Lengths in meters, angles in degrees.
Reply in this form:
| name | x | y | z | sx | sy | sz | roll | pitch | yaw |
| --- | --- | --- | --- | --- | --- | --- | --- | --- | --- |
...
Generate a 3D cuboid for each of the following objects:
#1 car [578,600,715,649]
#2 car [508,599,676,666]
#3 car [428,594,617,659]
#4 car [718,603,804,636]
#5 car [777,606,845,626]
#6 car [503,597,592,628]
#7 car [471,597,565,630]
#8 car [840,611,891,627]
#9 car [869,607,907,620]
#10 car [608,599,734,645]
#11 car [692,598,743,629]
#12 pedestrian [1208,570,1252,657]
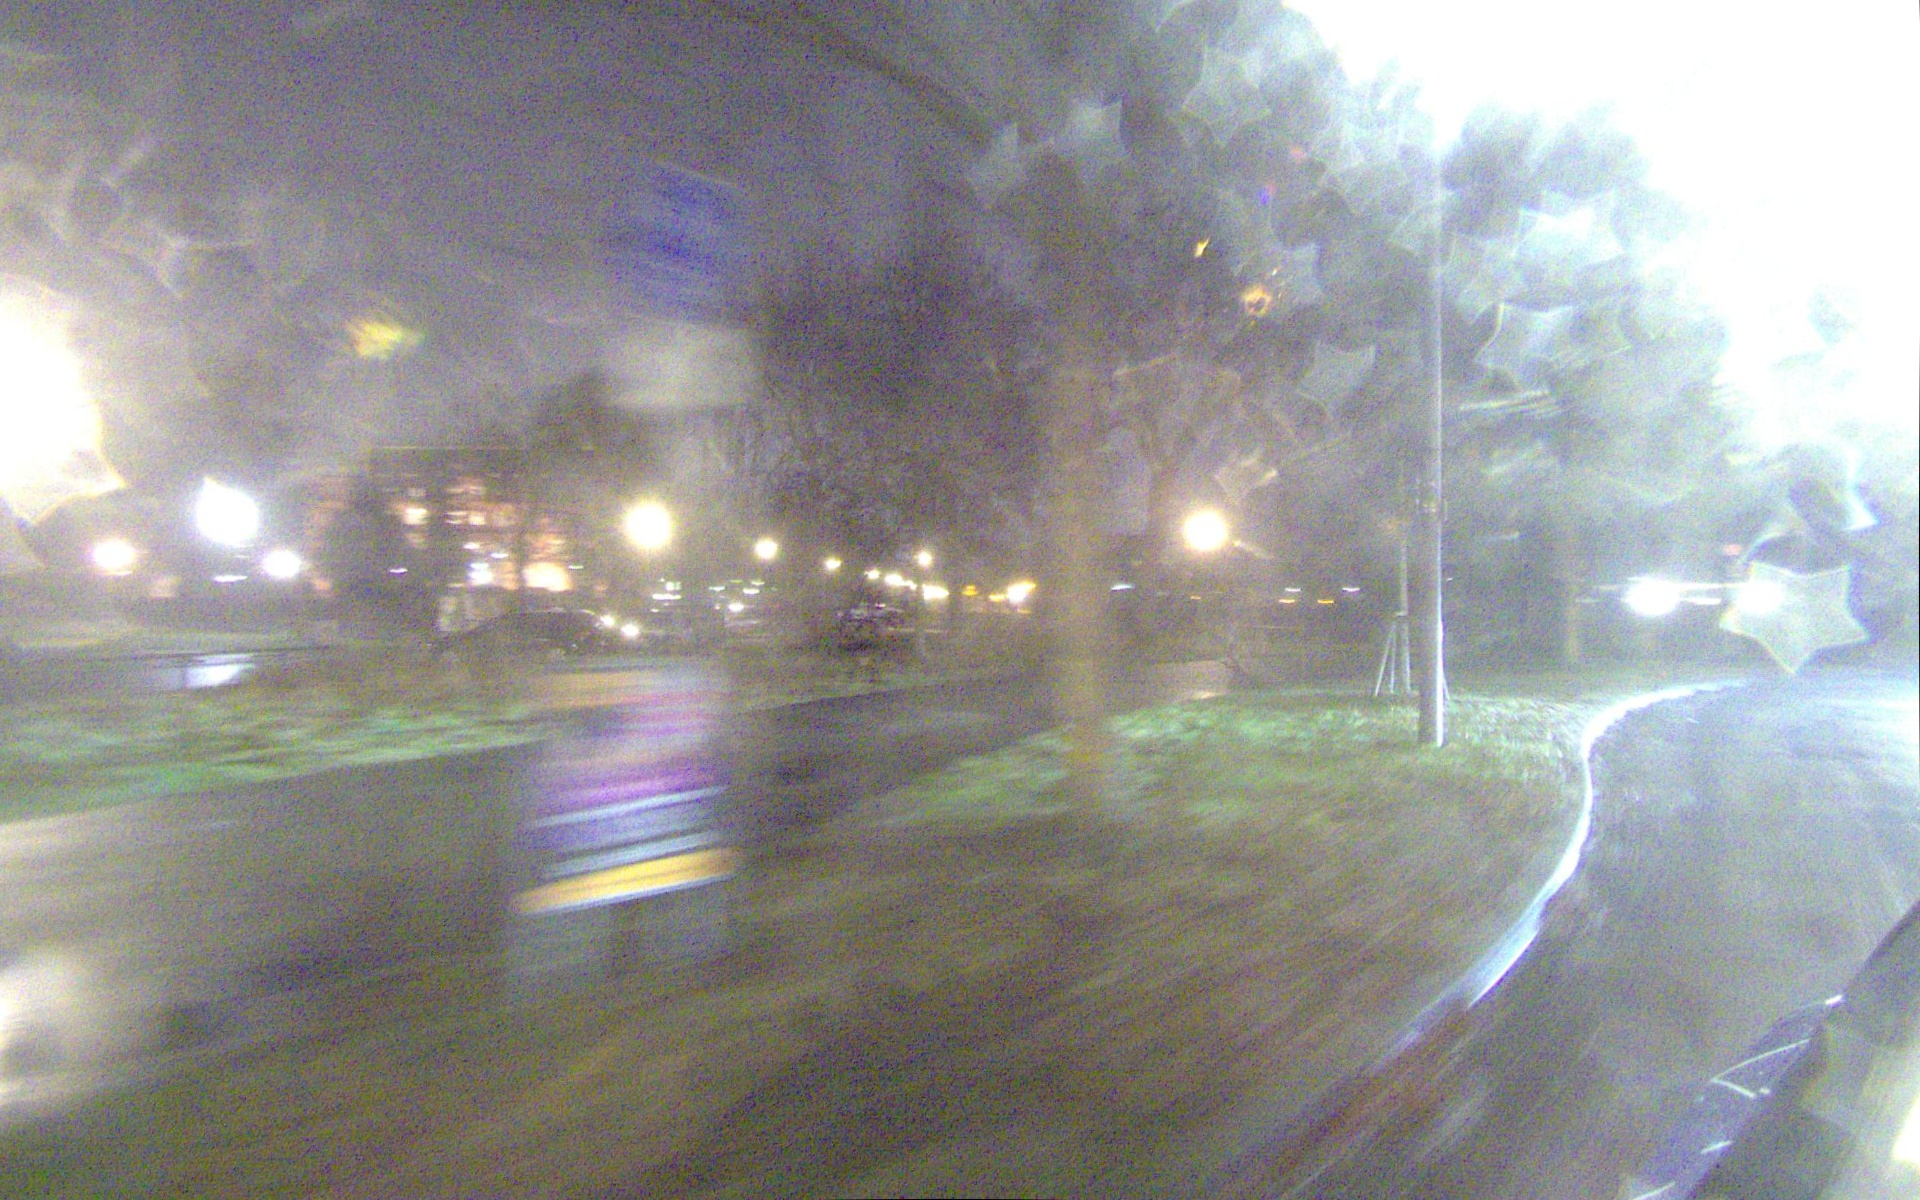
| name | x | y | z | sx | sy | sz | roll | pitch | yaw |
| --- | --- | --- | --- | --- | --- | --- | --- | --- | --- |
| car | -9.905 | 0.783 | 32.176 | 3.839 | 1.516 | 1.721 | 0 | -2 | 2 |
| car | -9.799 | 0.839 | 27.143 | 3.839 | 1.515 | 1.721 | -3 | 0 | 1 |
| car | -10.525 | 0.632 | 24.526 | 3.839 | 1.516 | 1.721 | 0 | -2 | 2 |
| car | -9.632 | 0.952 | 49.144 | 3.839 | 1.556 | 1.721 | 0 | -2 | 2 |
| car | -11.364 | 1.230 | 77.396 | 4.902 | 1.556 | 1.721 | 0 | -2 | 2 |
| car | -20.932 | 0.662 | 51.472 | 3.839 | 1.556 | 1.721 | 0 | -2 | 2 |
| car | -21.391 | 0.673 | 49.065 | 3.839 | 1.556 | 1.721 | 0 | -2 | 2 |
| car | -9.417 | 1.863 | 100.791 | 4.902 | 1.556 | 1.721 | 0 | -2 | 2 |
| car | -7.905 | 1.467 | 111.907 | 4.072 | 1.392 | 1.721 | 0 | -2 | 2 |
| car | -9.904 | 0.762 | 34.819 | 3.839 | 1.556 | 1.721 | 0 | -2 | 2 |
| car | -13.671 | 0.763 | 57.280 | 1.760 | 1.704 | 4.063 | 0 | -1 | 3 |
| pedestrian | 6.107 | 0.308 | 22.918 | 0.714 | 1.926 | 0.655 | 0 | -2 | -15 |
